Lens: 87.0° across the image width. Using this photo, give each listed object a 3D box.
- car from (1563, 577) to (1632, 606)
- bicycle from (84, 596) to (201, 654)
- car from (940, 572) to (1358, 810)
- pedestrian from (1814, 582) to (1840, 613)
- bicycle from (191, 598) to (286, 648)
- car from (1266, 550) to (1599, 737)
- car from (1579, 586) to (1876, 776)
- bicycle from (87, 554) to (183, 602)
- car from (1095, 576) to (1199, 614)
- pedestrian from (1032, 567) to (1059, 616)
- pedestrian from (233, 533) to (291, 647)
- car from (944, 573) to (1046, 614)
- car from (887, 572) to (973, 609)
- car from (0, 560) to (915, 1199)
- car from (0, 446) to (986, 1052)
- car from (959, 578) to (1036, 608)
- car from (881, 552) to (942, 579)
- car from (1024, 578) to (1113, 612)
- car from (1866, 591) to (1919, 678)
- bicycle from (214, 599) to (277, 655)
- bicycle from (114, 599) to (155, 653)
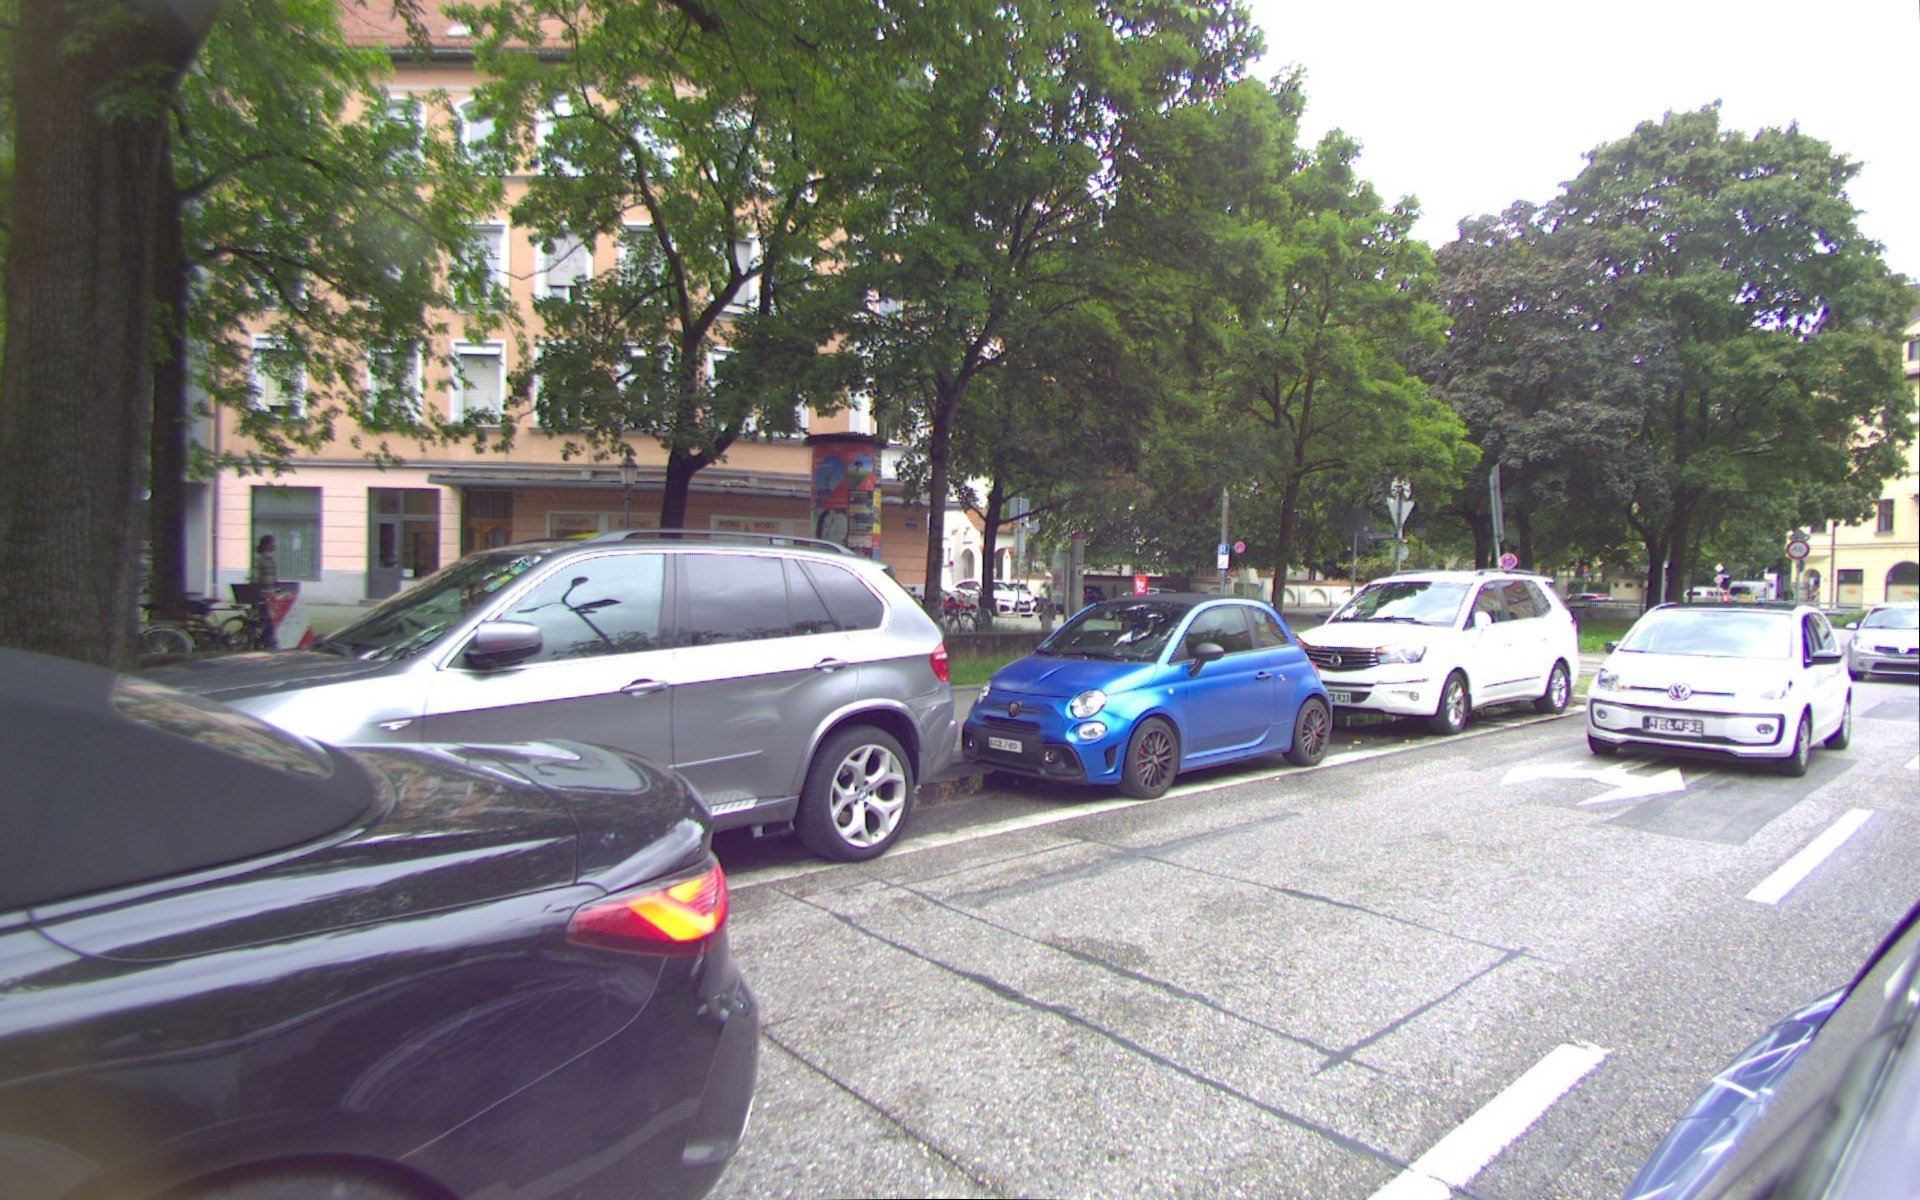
[{"bbox_3d":[45.769,-0.610,72.767,1.959,2.039,4.007,0,0,-10],"label":"car"},{"bbox_3d":[-10.737,0.315,13.320,1.155,0.732,0.319,-1,0,-30],"label":"bicycle"},{"bbox_3d":[1.706,0.595,8.498,3.597,1.568,1.523,0,2,-41],"label":"car"},{"bbox_3d":[58.403,-0.157,68.162,0.860,2.039,1.010,0,0,-9],"label":"pedestrian"},{"bbox_3d":[-11.134,0.348,15.643,1.154,0.732,0.320,-1,0,-19],"label":"bicycle"},{"bbox_3d":[5.980,0.414,12.493,4.935,1.879,1.847,0,2,-41],"label":"car"},{"bbox_3d":[7.613,0.640,9.924,3.557,1.484,1.647,0,2,-42],"label":"car"},{"bbox_3d":[-23.273,-0.621,28.562,2.204,1.306,0.507,0,0,-4],"label":"bicycle"},{"bbox_3d":[7.754,-0.225,42.374,1.824,1.485,4.446,-1,1,-31],"label":"car"},{"bbox_3d":[2.768,-0.267,32.648,0.632,1.571,0.603,0,0,-35],"label":"pedestrian"},{"bbox_3d":[-12.022,-0.181,17.443,0.617,1.926,0.630,0,0,-13],"label":"pedestrian"},{"bbox_3d":[1.286,-0.271,39.313,1.824,1.485,4.446,-1,1,-31],"label":"car"},{"bbox_3d":[-1.368,-0.411,43.813,1.824,1.485,4.447,-1,1,-31],"label":"car"},{"bbox_3d":[-2.444,0.633,1.229,4.714,1.406,1.727,0,2,-41],"label":"car"},{"bbox_3d":[-2.112,0.422,5.246,1.933,1.842,4.480,2,2,45],"label":"car"},{"bbox_3d":[1.894,-0.388,52.558,1.824,1.485,4.446,-1,1,-31],"label":"car"},{"bbox_3d":[-2.963,-2.046,61.282,1.824,1.485,4.447,-1,1,-31],"label":"car"},{"bbox_3d":[4.974,-0.258,47.003,1.824,1.485,4.446,-1,1,-31],"label":"car"},{"bbox_3d":[18.788,0.641,19.427,3.820,1.549,1.647,0,2,-42],"label":"car"},{"bbox_3d":[-9.947,0.357,14.118,0.312,0.732,1.181,0,0,-15],"label":"bicycle"},{"bbox_3d":[-11.995,0.364,14.720,0.313,0.732,1.179,0,0,-32],"label":"bicycle"}]
